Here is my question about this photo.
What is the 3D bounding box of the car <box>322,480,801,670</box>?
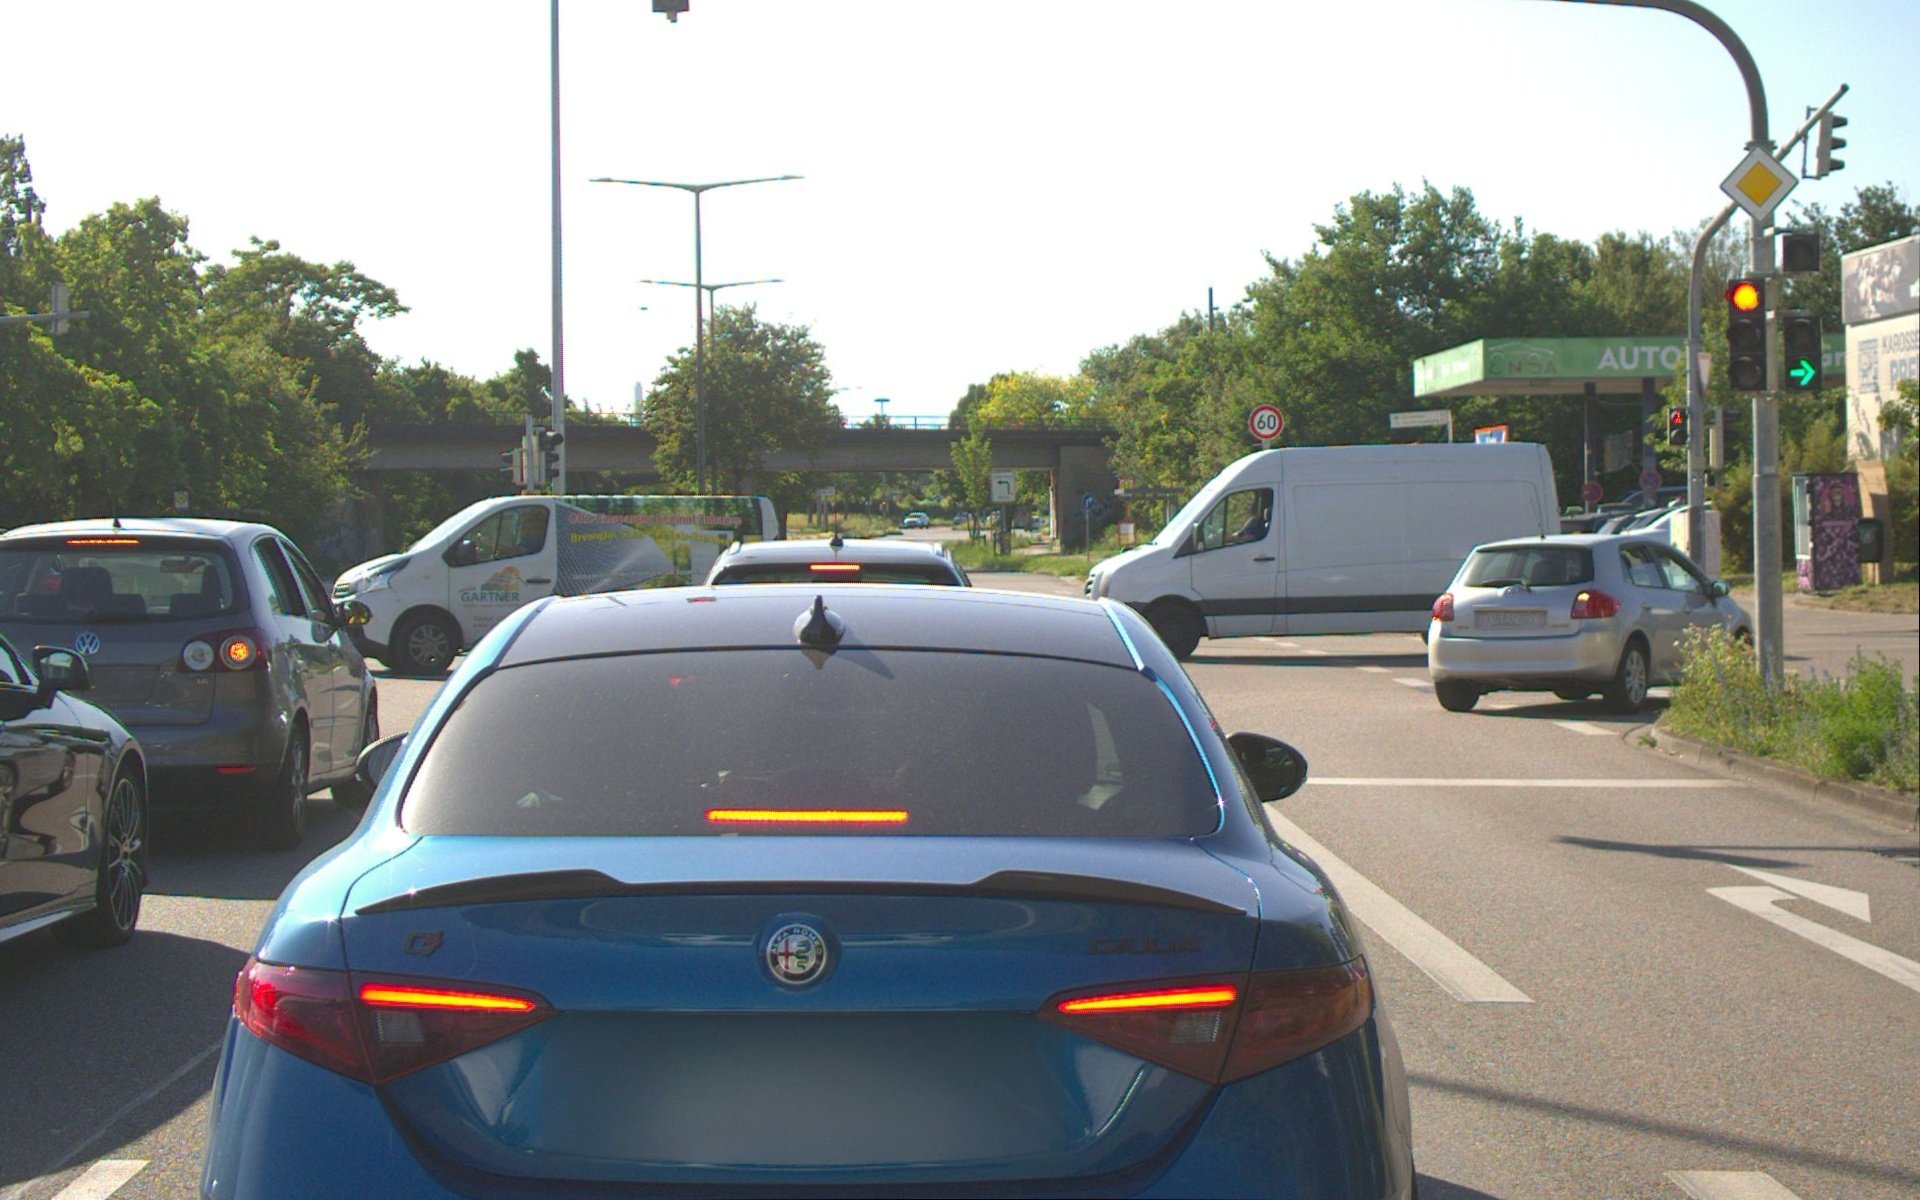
[{"bbox_3d":[-4.441,-0.311,38.135,5.008,2.007,2.001,-1,1,-16],"label":"car"}]

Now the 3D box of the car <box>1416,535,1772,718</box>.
[{"bbox_3d":[5.603,0.175,30.051,1.738,1.472,3.984,1,1,31],"label":"car"}]

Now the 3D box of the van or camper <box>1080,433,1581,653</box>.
[{"bbox_3d":[4.534,-0.720,42.647,5.936,2.641,2.000,0,1,-2],"label":"van or camper"}]

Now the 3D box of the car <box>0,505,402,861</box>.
[{"bbox_3d":[-3.949,0.333,17.393,1.648,1.593,3.932,0,1,-1],"label":"car"}]

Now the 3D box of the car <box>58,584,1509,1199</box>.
[{"bbox_3d":[-0.251,0.696,6.403,1.866,1.380,3.932,0,1,-1],"label":"car"}]

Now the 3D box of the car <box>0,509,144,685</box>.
[{"bbox_3d":[-10.210,-0.026,32.962,1.883,1.684,4.427,0,1,38],"label":"car"}]

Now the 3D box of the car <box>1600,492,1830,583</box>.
[{"bbox_3d":[14.512,-1.202,66.100,3.986,1.700,1.696,-1,1,-16],"label":"car"}]

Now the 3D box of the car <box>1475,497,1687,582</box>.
[{"bbox_3d":[12.821,-1.255,70.956,3.986,1.700,1.696,-1,1,-19],"label":"car"}]

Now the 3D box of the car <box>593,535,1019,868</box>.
[{"bbox_3d":[-0.701,0.410,17.072,1.866,1.445,3.932,0,1,-1],"label":"car"}]

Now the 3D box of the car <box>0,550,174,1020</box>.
[{"bbox_3d":[-3.807,0.570,10.634,1.768,1.409,4.461,0,1,-1],"label":"car"}]

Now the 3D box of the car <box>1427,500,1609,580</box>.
[{"bbox_3d":[12.021,-1.293,74.147,3.483,1.700,1.696,-1,1,-16],"label":"car"}]
